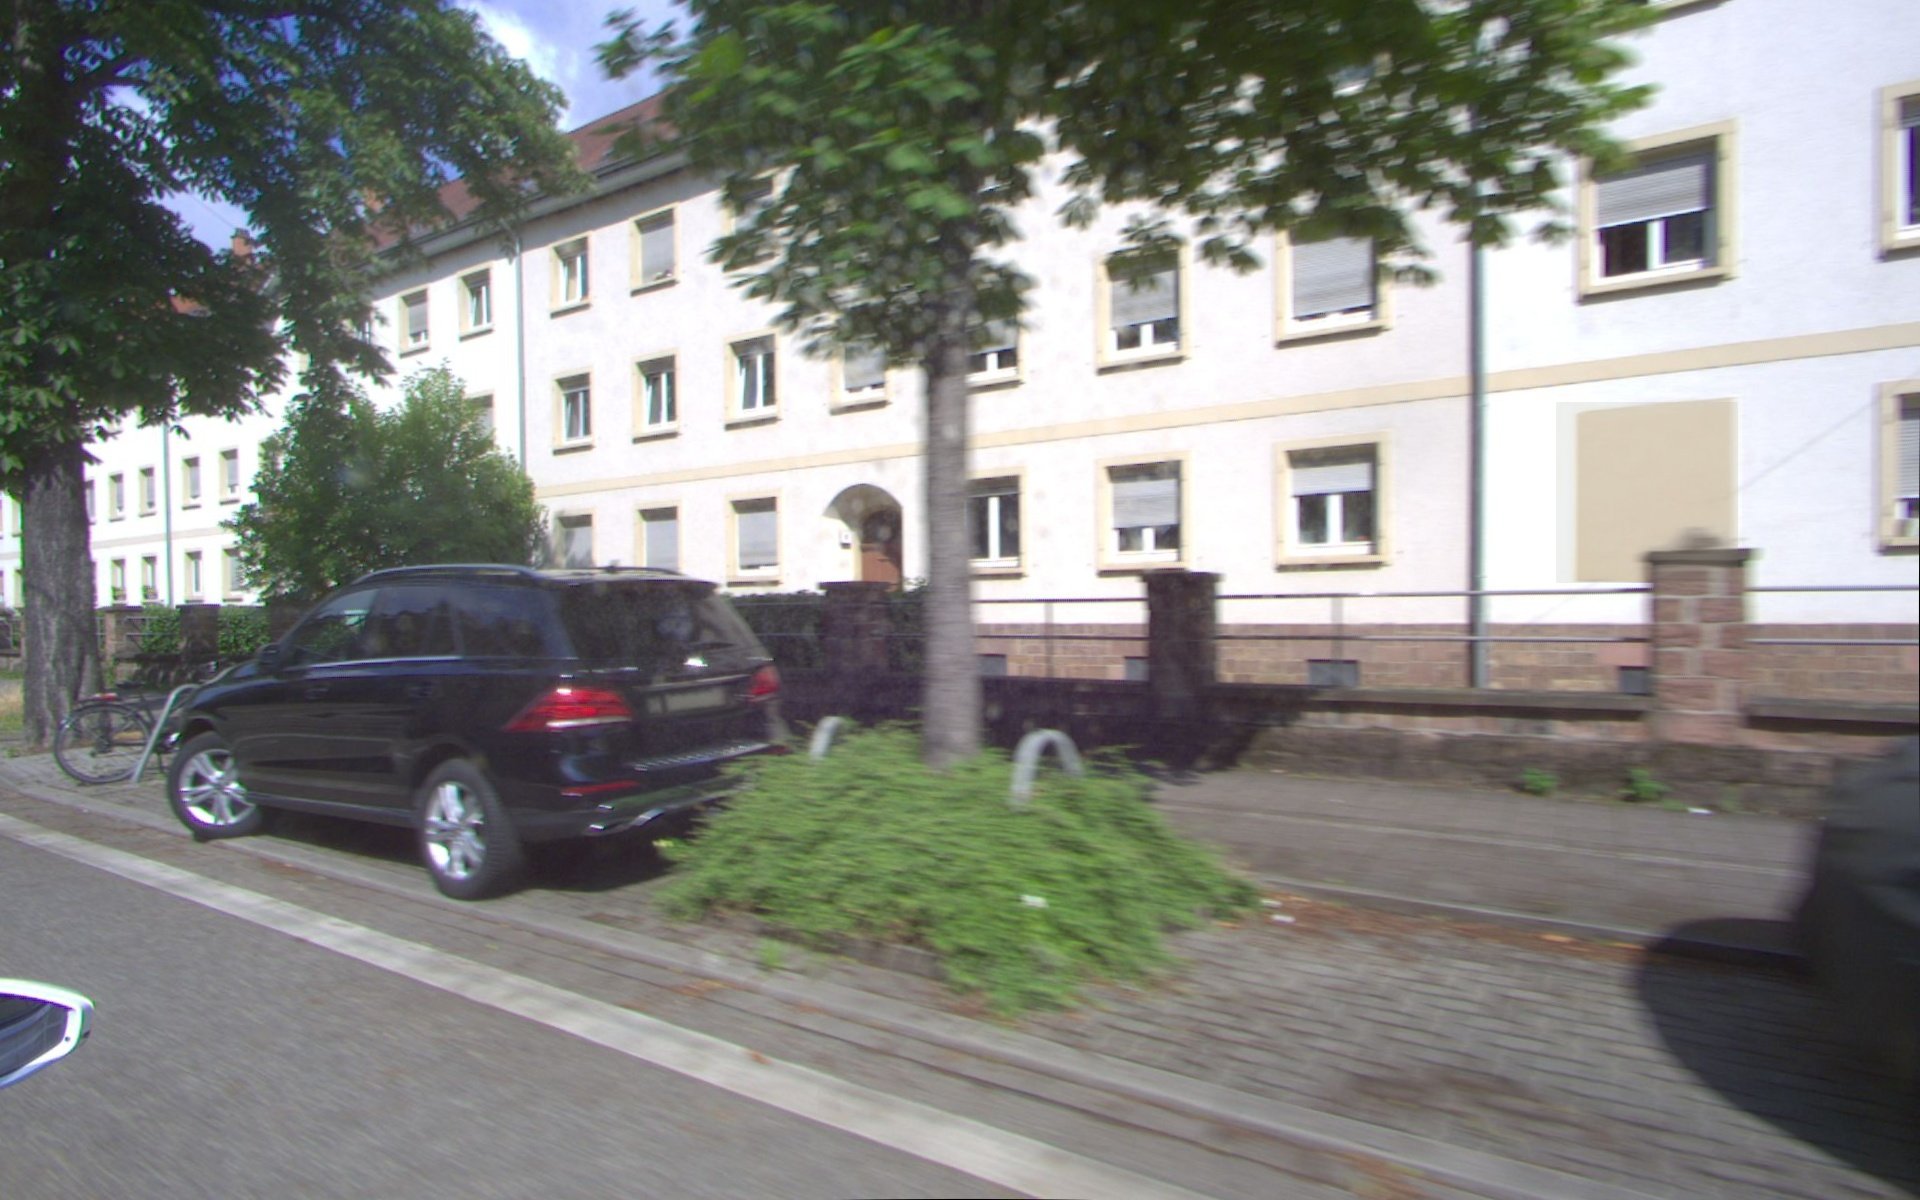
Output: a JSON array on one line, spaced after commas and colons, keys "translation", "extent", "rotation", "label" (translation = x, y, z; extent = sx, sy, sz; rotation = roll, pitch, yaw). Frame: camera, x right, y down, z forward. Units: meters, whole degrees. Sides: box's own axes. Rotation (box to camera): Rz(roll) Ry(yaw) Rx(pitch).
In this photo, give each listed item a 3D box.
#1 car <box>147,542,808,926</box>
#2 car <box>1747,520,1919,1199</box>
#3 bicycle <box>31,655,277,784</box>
[{"translation": [-3.401, 0.651, 6.736], "extent": [4.665, 1.806, 1.823], "rotation": [-1, 0, 32], "label": "car"}, {"translation": [4.438, 0.636, 1.786], "extent": [4.571, 1.674, 1.859], "rotation": [-1, 0, 32], "label": "car"}, {"translation": [-7.582, 1.078, 9.507], "extent": [0.629, 1.020, 1.704], "rotation": [0, 0, 32], "label": "bicycle"}]
